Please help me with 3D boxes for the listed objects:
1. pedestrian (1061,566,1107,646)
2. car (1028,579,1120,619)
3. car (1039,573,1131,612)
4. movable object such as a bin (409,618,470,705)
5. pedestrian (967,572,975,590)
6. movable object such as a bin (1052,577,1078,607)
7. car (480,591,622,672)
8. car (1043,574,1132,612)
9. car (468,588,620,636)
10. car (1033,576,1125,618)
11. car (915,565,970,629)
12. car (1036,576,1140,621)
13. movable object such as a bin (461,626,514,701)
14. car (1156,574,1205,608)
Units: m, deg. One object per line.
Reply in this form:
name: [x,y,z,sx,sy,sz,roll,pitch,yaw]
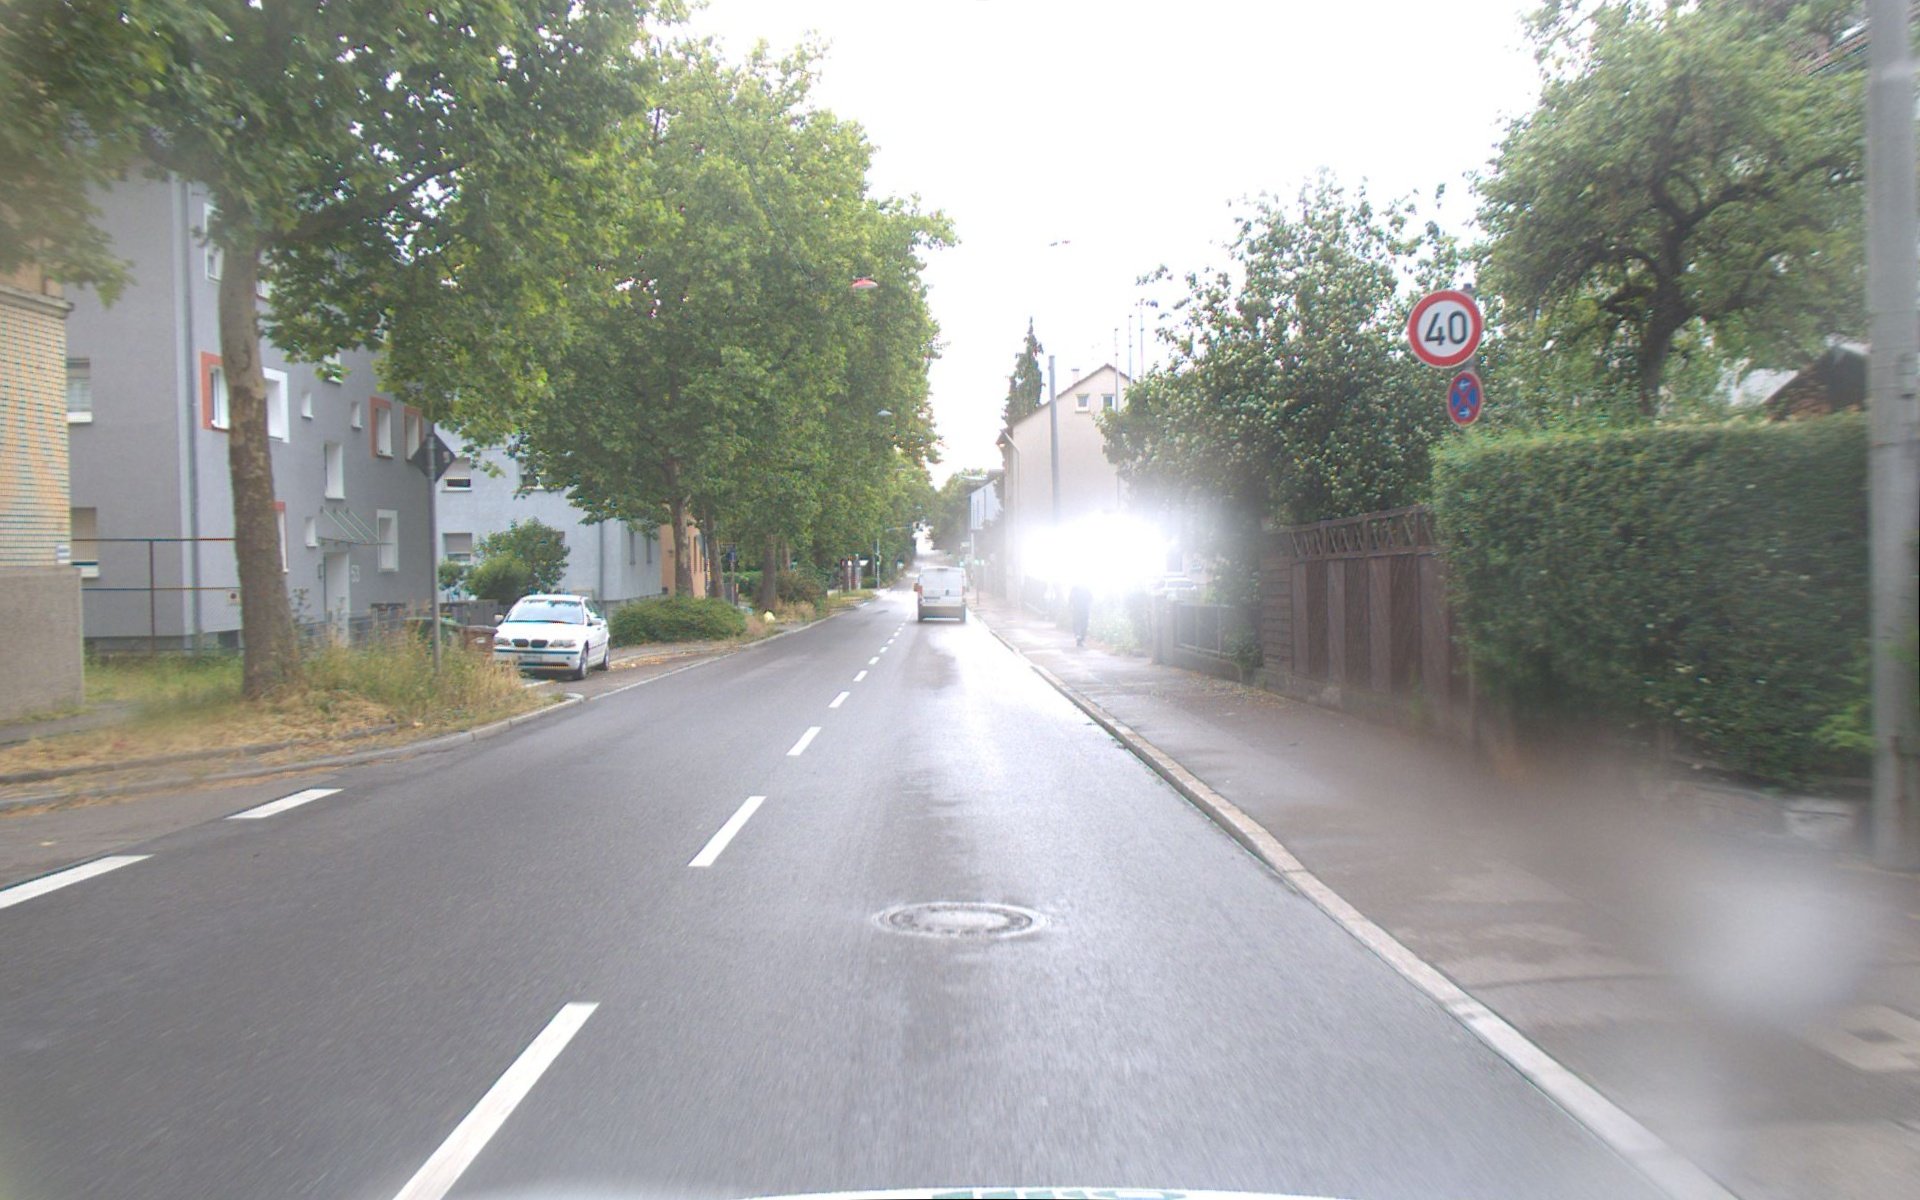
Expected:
pedestrian: [3.022,0.151,40.515,1.022,1.930,0.900,-1,-1,-1]
car: [5.118,-0.039,74.790,3.984,1.767,1.869,1,0,-1]
car: [5.845,-0.341,77.724,4.142,1.767,1.869,1,0,-1]
movable object such as a bin: [-6.725,0.783,21.382,0.523,1.076,0.762,-2,0,-1]
pedestrian: [1.092,-1.906,166.407,0.728,1.734,0.900,1,0,-6]
movable object such as a bin: [5.607,-0.398,88.489,1.209,1.536,1.110,-3,0,-2]
car: [-7.297,0.518,29.920,1.721,1.349,4.535,0,0,-4]
car: [6.165,-0.337,80.347,4.142,1.767,1.869,1,0,-1]
car: [-13.784,0.407,55.026,4.568,1.502,1.869,1,0,-1]
car: [5.177,-0.127,72.294,3.868,1.754,1.791,1,0,-1]
car: [-0.754,-0.096,69.552,2.236,2.597,3.999,0,0,-1]
car: [5.373,-0.057,69.752,4.215,1.799,1.999,1,0,-1]
movable object such as a bin: [-6.132,0.820,21.496,0.501,0.944,0.581,-2,-1,-1]
car: [10.529,-0.430,79.318,1.771,1.557,3.626,1,0,-2]
